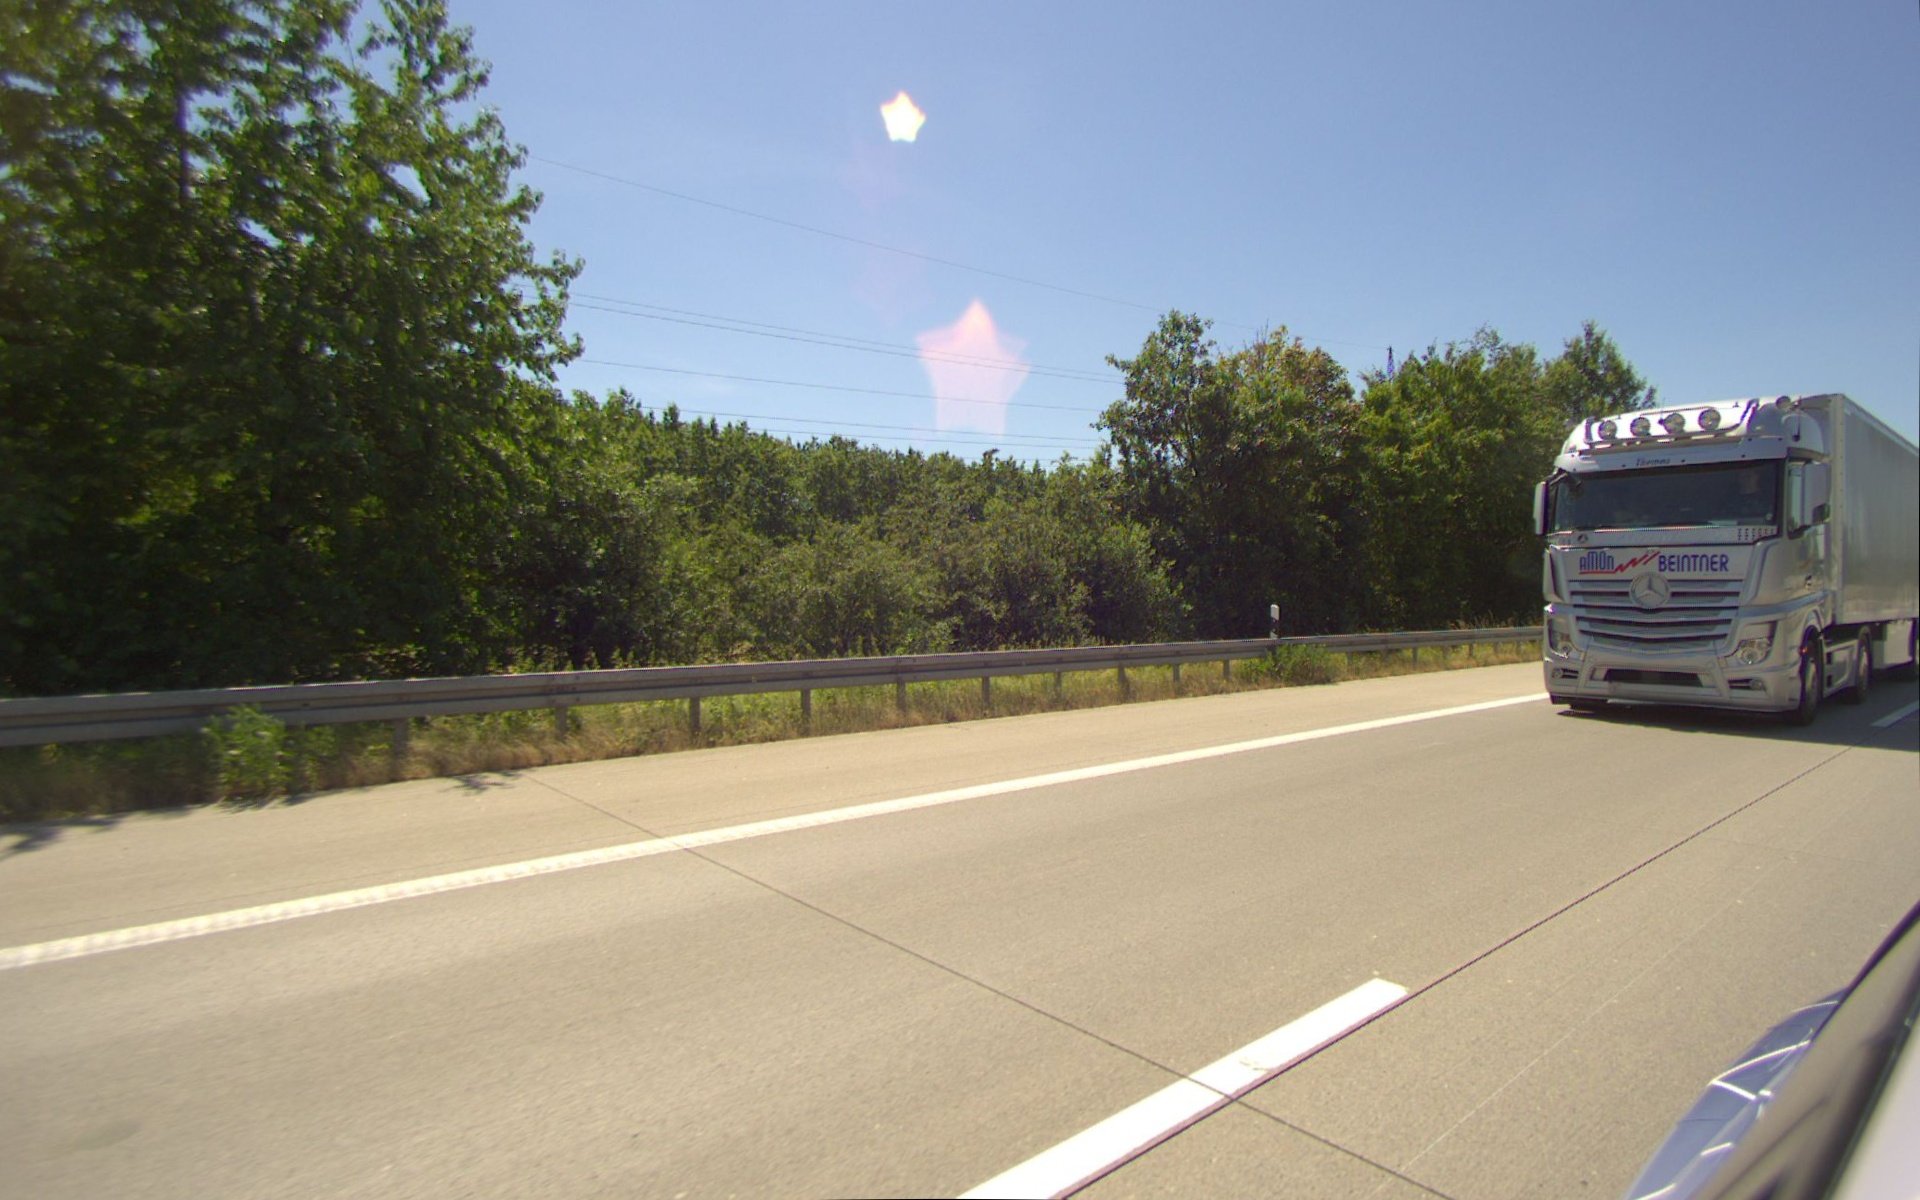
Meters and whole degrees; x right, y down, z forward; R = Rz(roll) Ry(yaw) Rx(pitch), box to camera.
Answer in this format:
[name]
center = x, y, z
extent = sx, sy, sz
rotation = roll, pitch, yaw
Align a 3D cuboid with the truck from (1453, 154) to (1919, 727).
[truck]
center = 14.518, -1.594, 17.423
extent = 17.921, 5.863, 3.583
rotation = 0, -3, -40
